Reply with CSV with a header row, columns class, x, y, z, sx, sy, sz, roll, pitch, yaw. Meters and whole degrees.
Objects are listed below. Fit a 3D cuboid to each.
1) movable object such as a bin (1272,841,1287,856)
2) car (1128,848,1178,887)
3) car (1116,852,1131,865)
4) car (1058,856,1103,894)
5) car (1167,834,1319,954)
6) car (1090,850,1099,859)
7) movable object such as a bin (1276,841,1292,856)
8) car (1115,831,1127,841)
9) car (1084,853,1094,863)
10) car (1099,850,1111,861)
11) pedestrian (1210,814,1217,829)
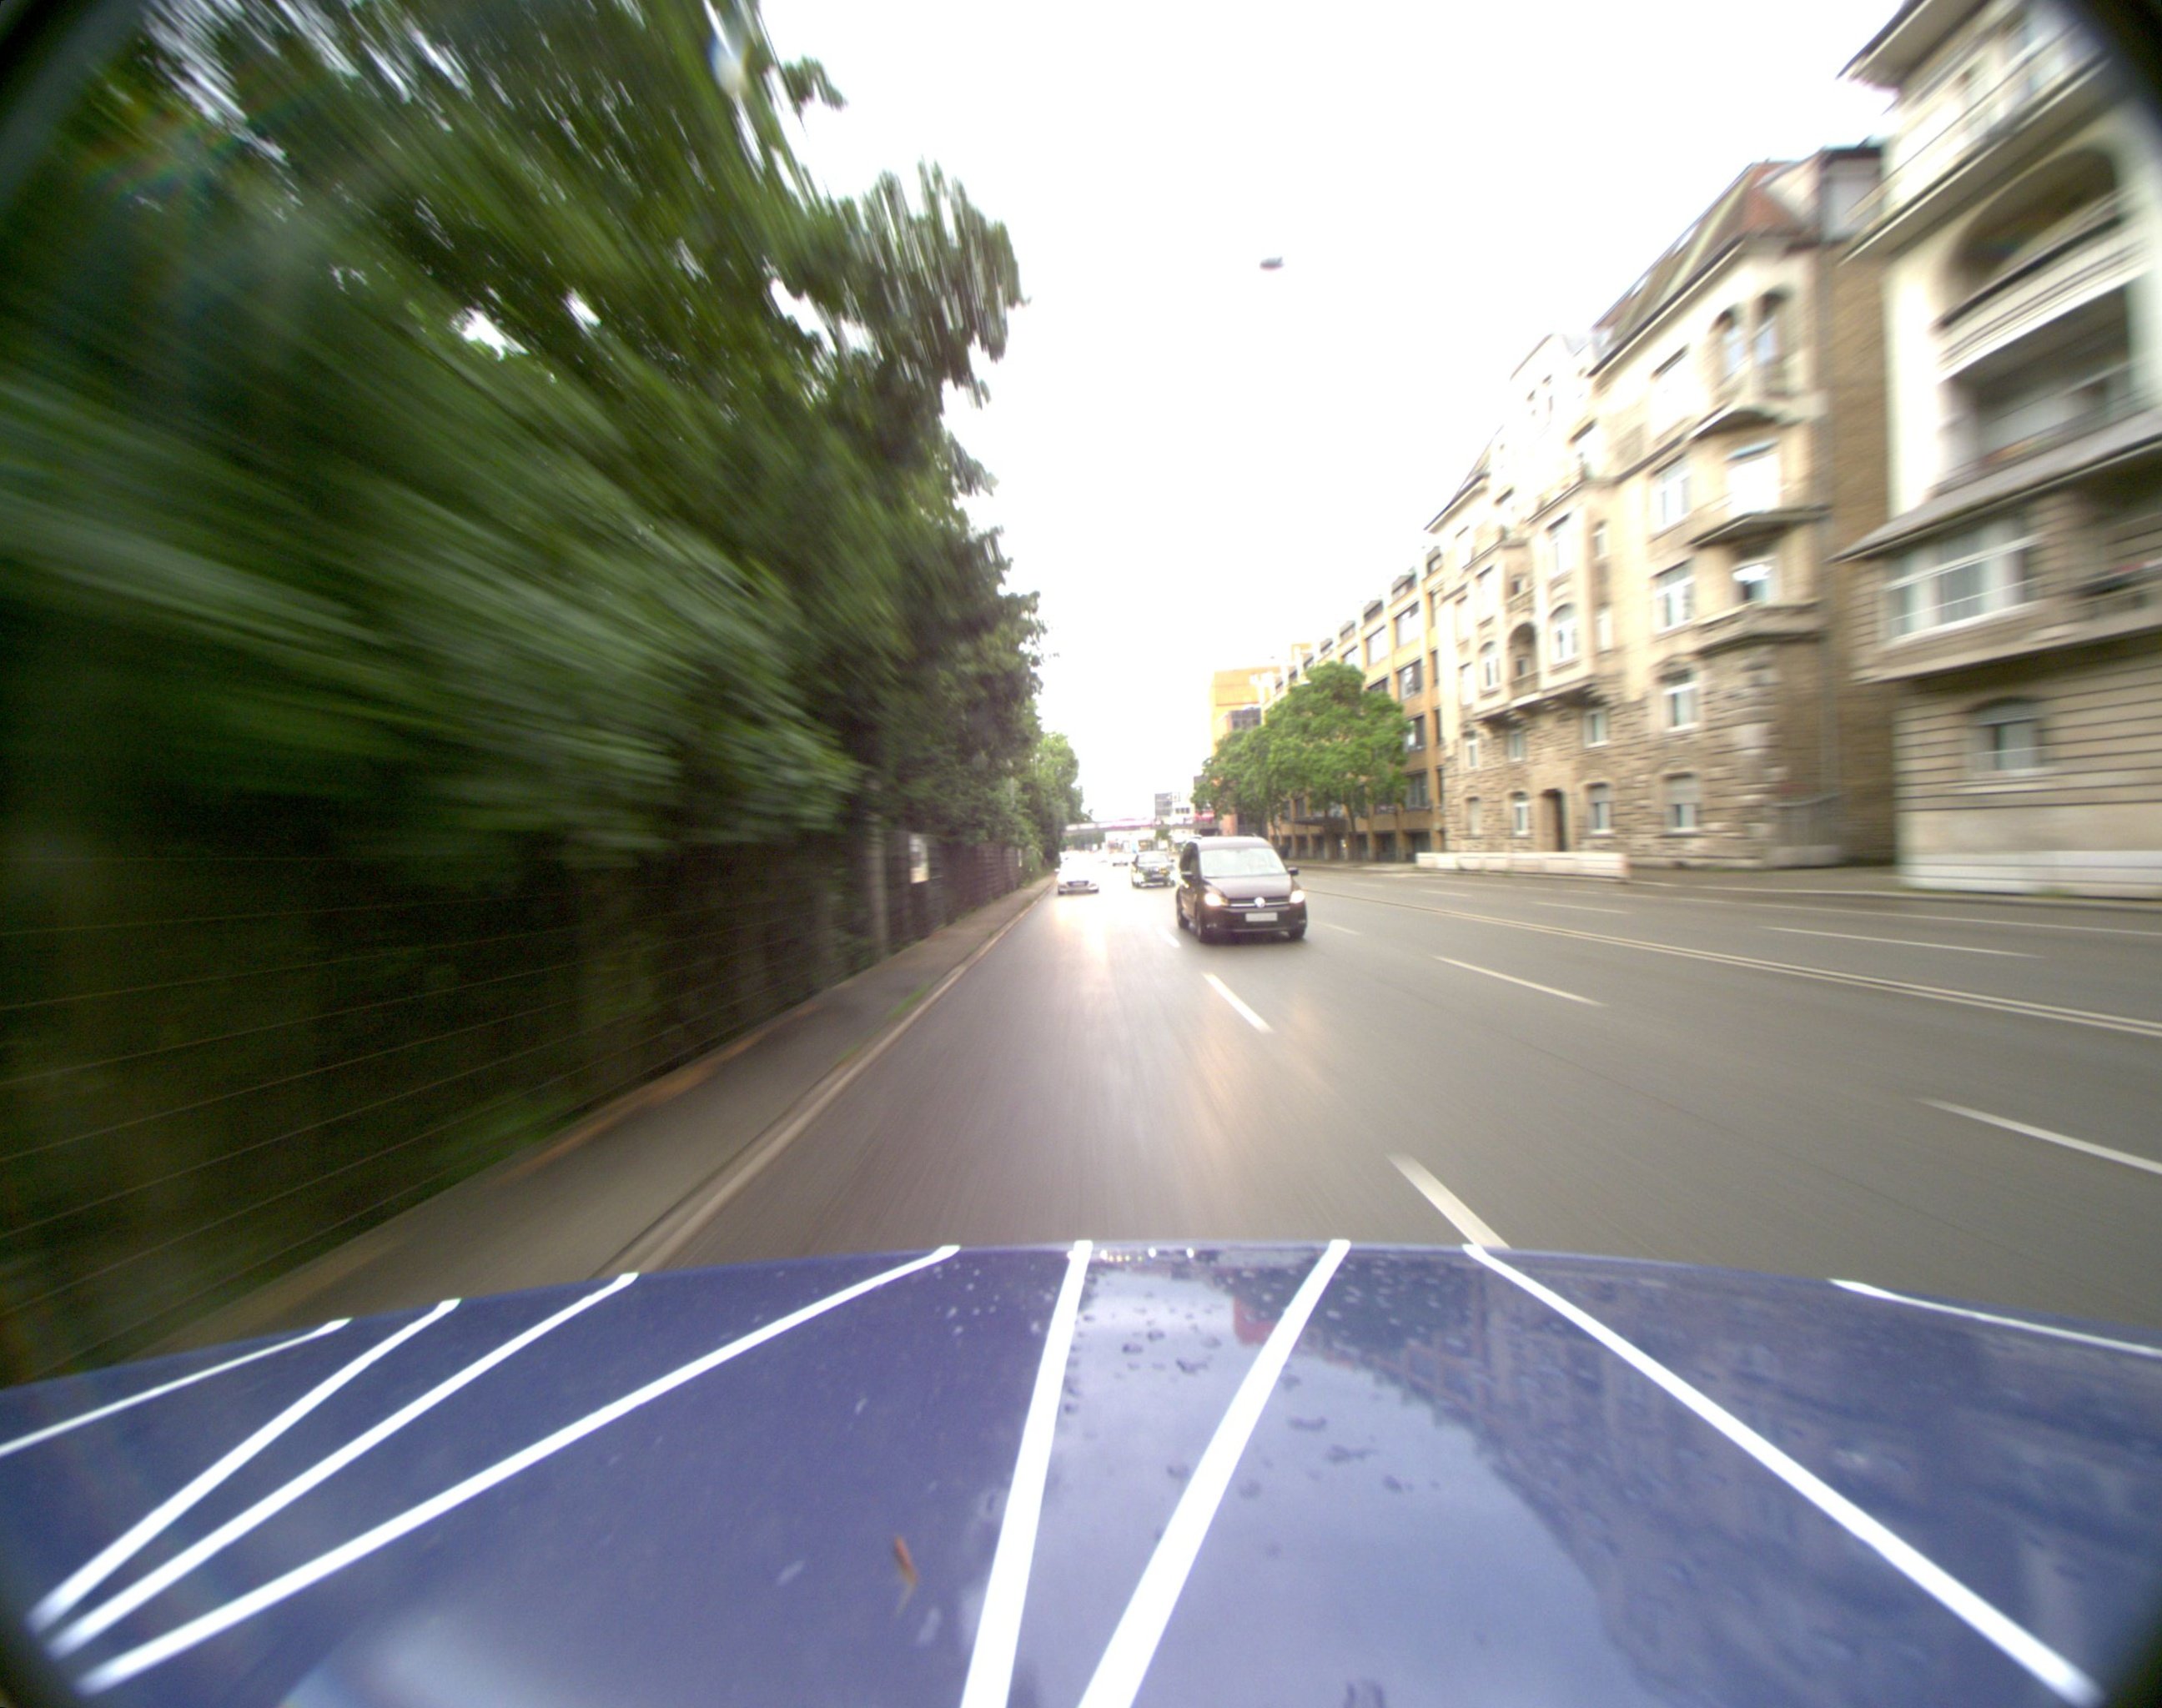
class,x,y,z,sx,sy,sz,roll,pitch,yaw
movable object such as a bin,20.288,-0.531,77.794,0.976,1.428,1.313,-5,1,-5
car,3.266,0.576,35.042,1.731,1.604,3.999,-4,1,-1
car,5.419,0.578,96.233,1.730,1.502,3.731,-4,1,4
car,-0.066,0.865,33.358,1.731,1.431,3.999,-4,1,-1
car,2.717,0.615,13.685,1.842,1.780,4.000,-2,0,0
car,3.192,0.120,181.403,1.878,1.762,3.999,-5,1,0
movable object such as a bin,20.386,-0.542,76.443,1.071,1.428,1.372,-5,0,-5
car,7.443,-3.305,140.373,1.823,1.602,4.001,-5,1,6
car,1.528,0.767,149.341,1.878,1.762,3.999,-5,1,0
car,4.318,0.225,136.621,1.878,1.762,3.999,-5,1,0
pedestrian,20.312,-4.908,116.246,0.833,2.242,0.738,-2,1,-6
